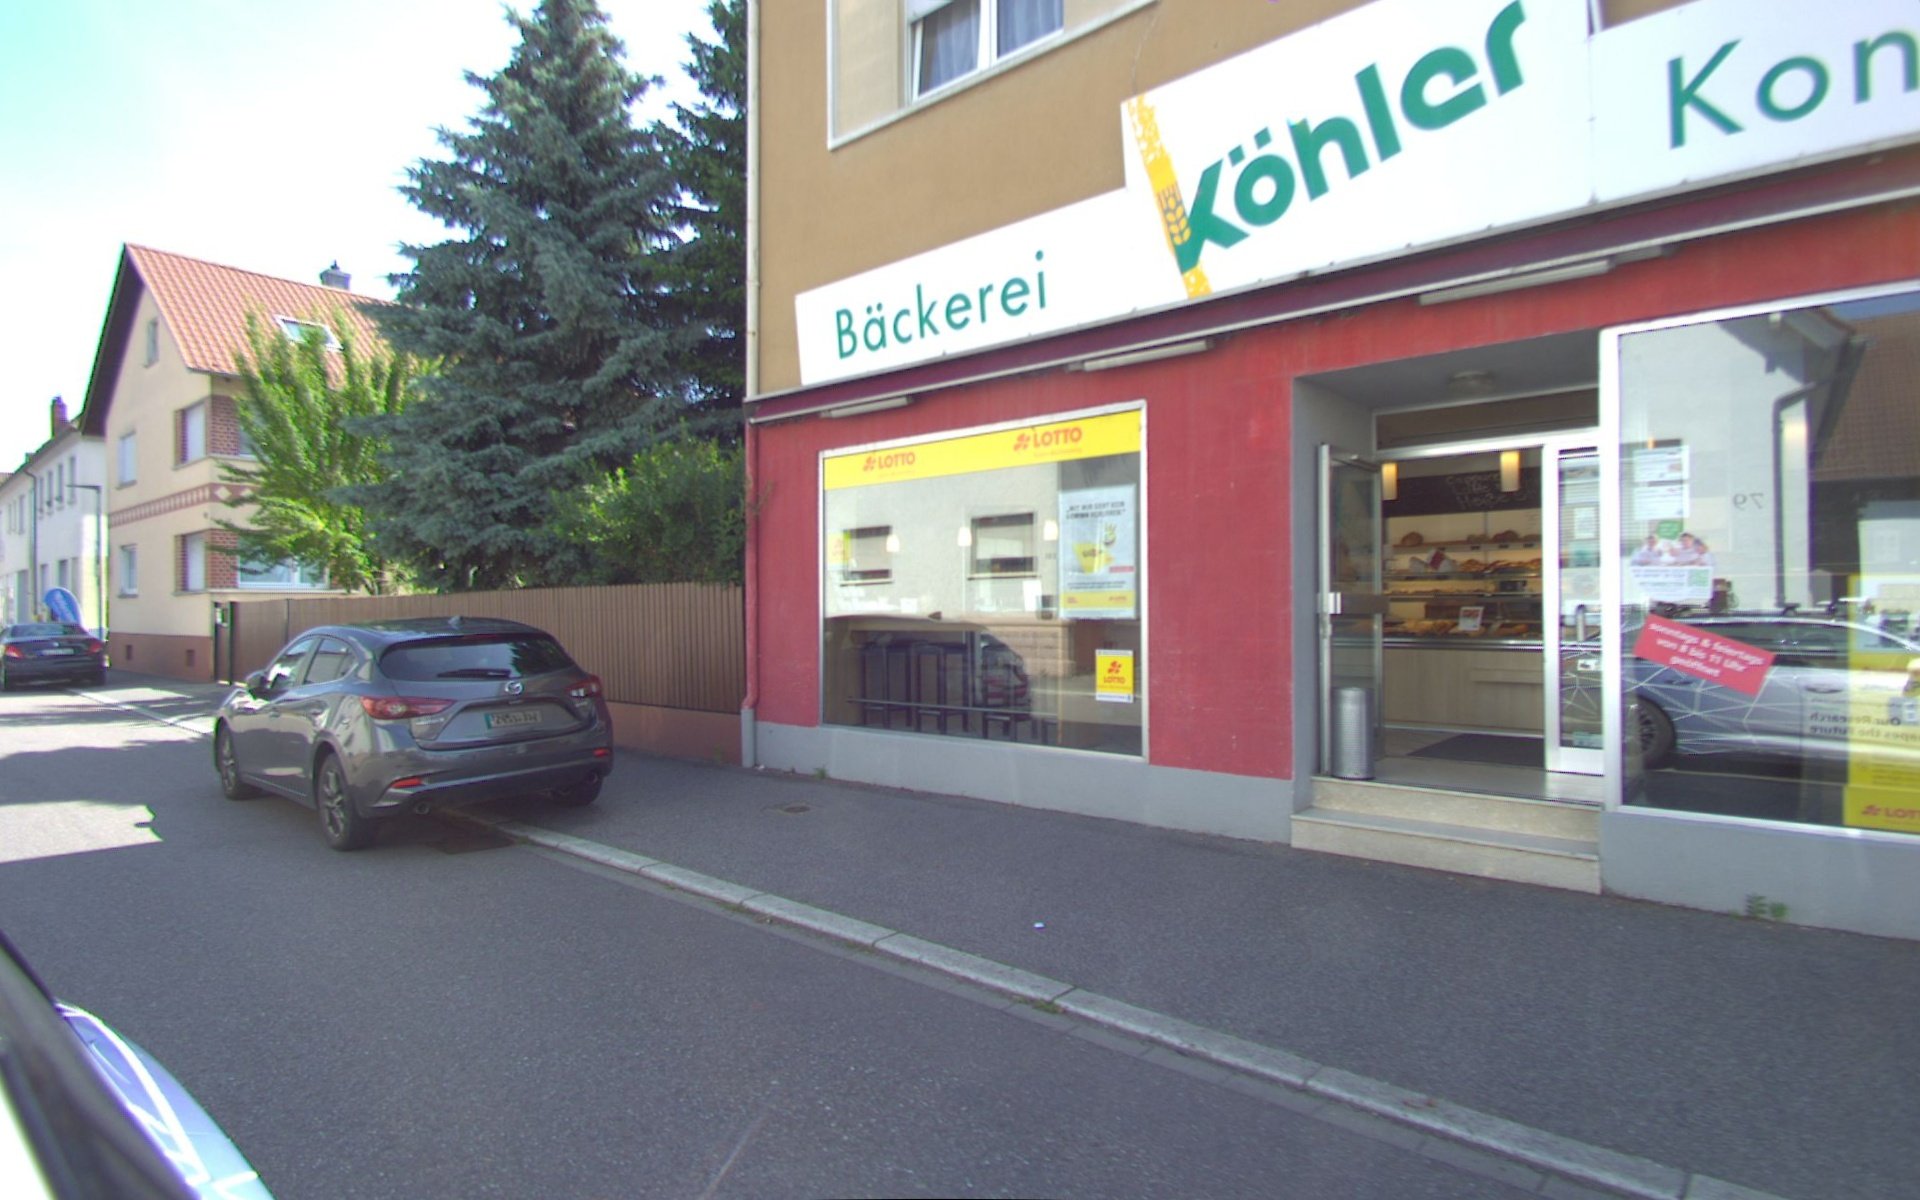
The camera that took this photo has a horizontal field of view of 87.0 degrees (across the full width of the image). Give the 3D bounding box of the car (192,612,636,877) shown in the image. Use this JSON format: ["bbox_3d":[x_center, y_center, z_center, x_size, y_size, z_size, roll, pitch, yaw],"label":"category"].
[{"bbox_3d":[-4.426,0.851,7.844,4.437,1.471,1.748,-1,-1,44],"label":"car"}]

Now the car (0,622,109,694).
[{"bbox_3d":[-20.032,1.197,22.023,4.065,1.384,1.743,-1,0,41],"label":"car"}]
